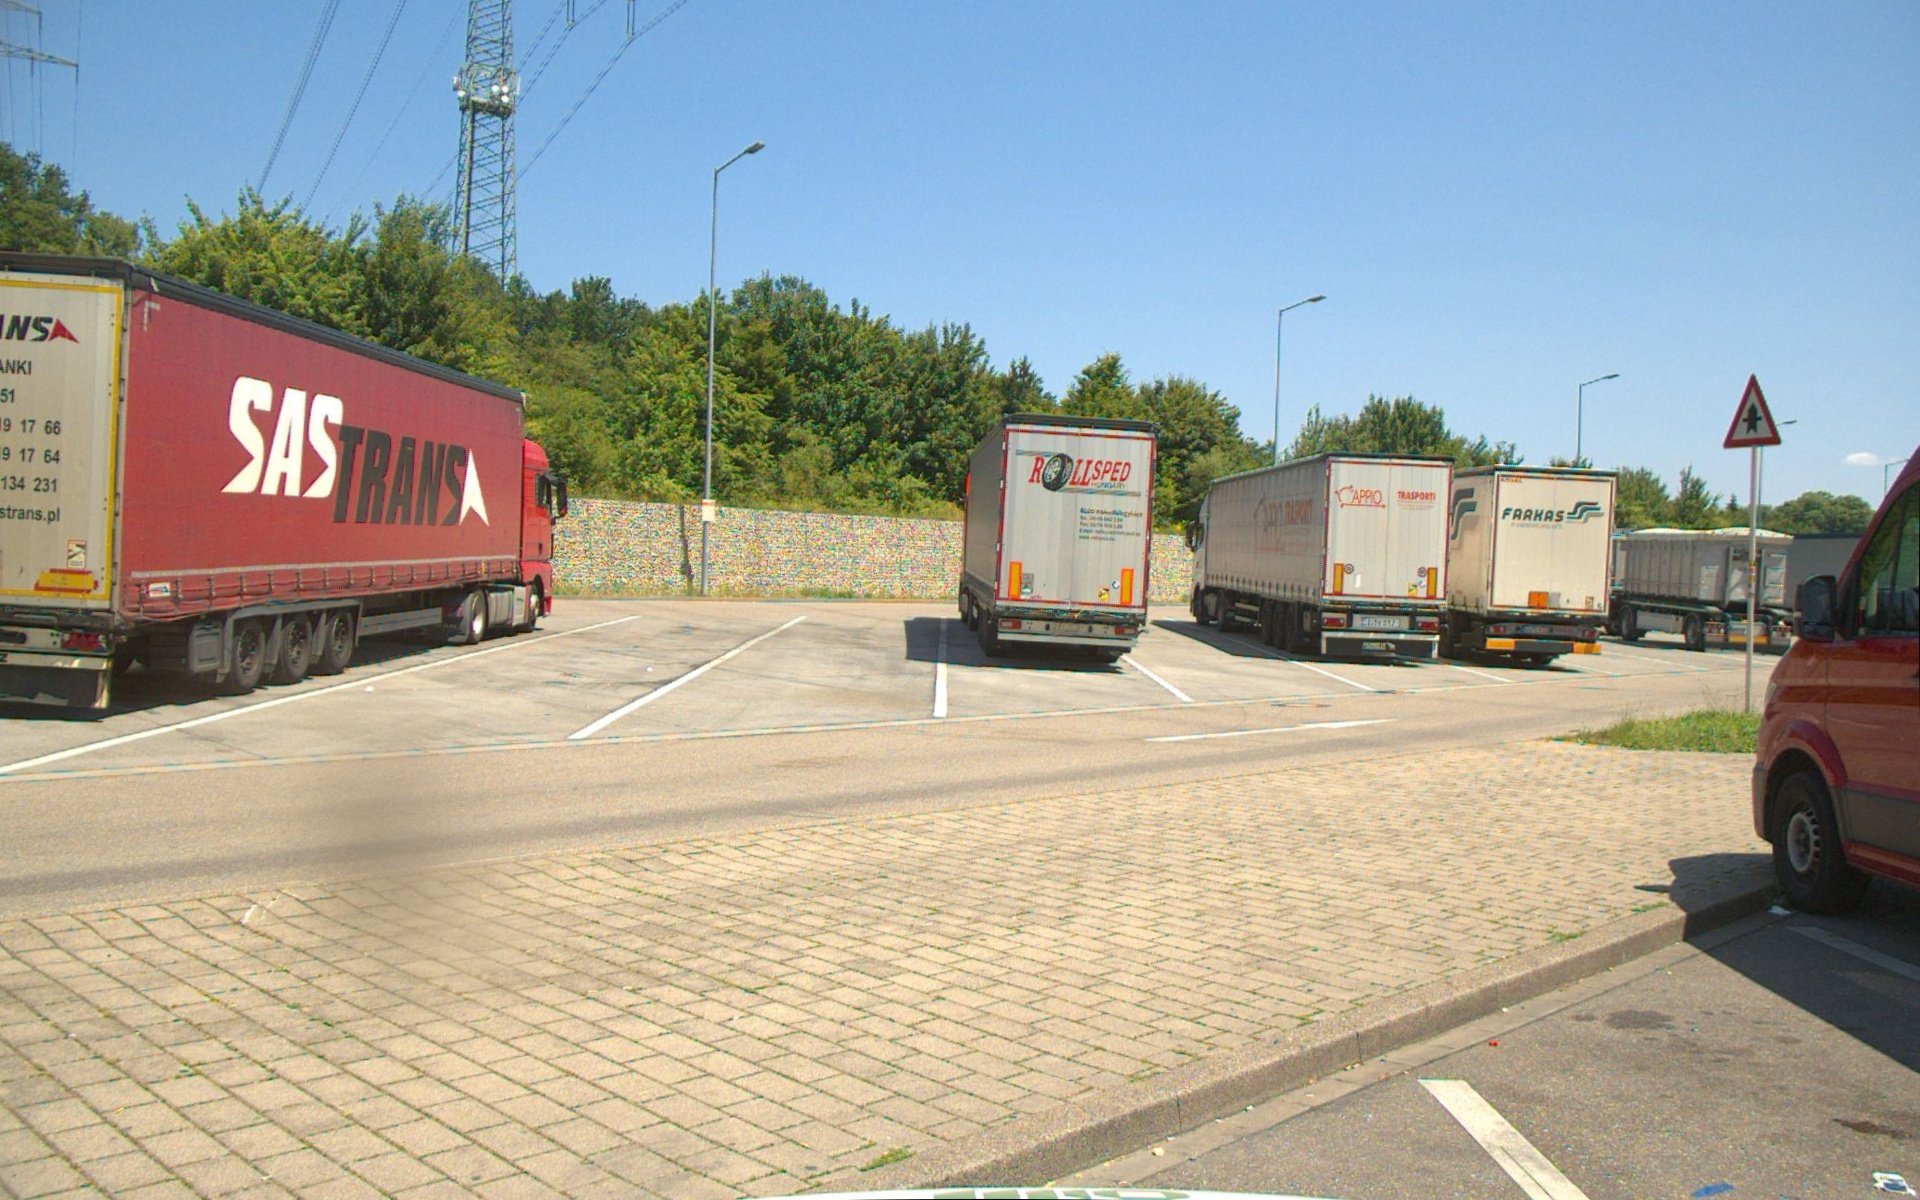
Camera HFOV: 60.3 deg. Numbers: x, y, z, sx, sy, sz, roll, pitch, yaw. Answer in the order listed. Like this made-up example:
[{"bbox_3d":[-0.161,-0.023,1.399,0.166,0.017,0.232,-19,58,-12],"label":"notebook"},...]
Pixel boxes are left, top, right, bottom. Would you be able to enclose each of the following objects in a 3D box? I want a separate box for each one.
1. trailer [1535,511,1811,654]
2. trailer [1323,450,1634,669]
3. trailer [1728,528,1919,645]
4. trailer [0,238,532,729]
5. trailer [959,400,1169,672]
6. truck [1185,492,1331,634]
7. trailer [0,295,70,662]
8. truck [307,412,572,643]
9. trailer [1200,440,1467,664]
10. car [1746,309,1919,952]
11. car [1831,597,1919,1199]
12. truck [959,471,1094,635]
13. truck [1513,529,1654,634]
[{"bbox_3d":[21.935,-0.678,52.212,2.780,3.781,13.726,3,2,1],"label":"trailer"},{"bbox_3d":[11.777,-1.014,39.638,2.781,4.204,13.722,2,2,-1],"label":"trailer"},{"bbox_3d":[34.948,-0.633,65.416,2.780,4.119,13.726,3,2,1],"label":"trailer"},{"bbox_3d":[-8.673,-1.300,21.192,2.848,4.203,13.723,2,2,-1],"label":"trailer"},{"bbox_3d":[1.657,-1.231,33.244,2.848,4.204,13.720,2,2,-1],"label":"trailer"},{"bbox_3d":[8.103,-1.036,45.643,2.794,3.544,5.482,2,2,-1],"label":"truck"},{"bbox_3d":[-12.518,-1.313,15.709,2.673,4.282,10.170,2,2,-1],"label":"trailer"},{"bbox_3d":[-8.786,-1.209,28.628,2.794,3.487,5.482,2,2,-1],"label":"truck"},{"bbox_3d":[8.218,-1.136,38.833,2.781,4.204,13.722,2,2,-1],"label":"trailer"},{"bbox_3d":[5.016,0.164,5.565,2.023,2.742,6.397,1,1,4],"label":"car"},{"bbox_3d":[2.604,0.797,1.161,1.703,1.508,3.813,1,1,-6],"label":"car"},{"bbox_3d":[1.489,-1.143,39.853,2.794,3.544,5.482,2,2,-1],"label":"truck"},{"bbox_3d":[22.016,-0.708,58.716,2.794,3.423,5.484,3,2,0],"label":"truck"}]
